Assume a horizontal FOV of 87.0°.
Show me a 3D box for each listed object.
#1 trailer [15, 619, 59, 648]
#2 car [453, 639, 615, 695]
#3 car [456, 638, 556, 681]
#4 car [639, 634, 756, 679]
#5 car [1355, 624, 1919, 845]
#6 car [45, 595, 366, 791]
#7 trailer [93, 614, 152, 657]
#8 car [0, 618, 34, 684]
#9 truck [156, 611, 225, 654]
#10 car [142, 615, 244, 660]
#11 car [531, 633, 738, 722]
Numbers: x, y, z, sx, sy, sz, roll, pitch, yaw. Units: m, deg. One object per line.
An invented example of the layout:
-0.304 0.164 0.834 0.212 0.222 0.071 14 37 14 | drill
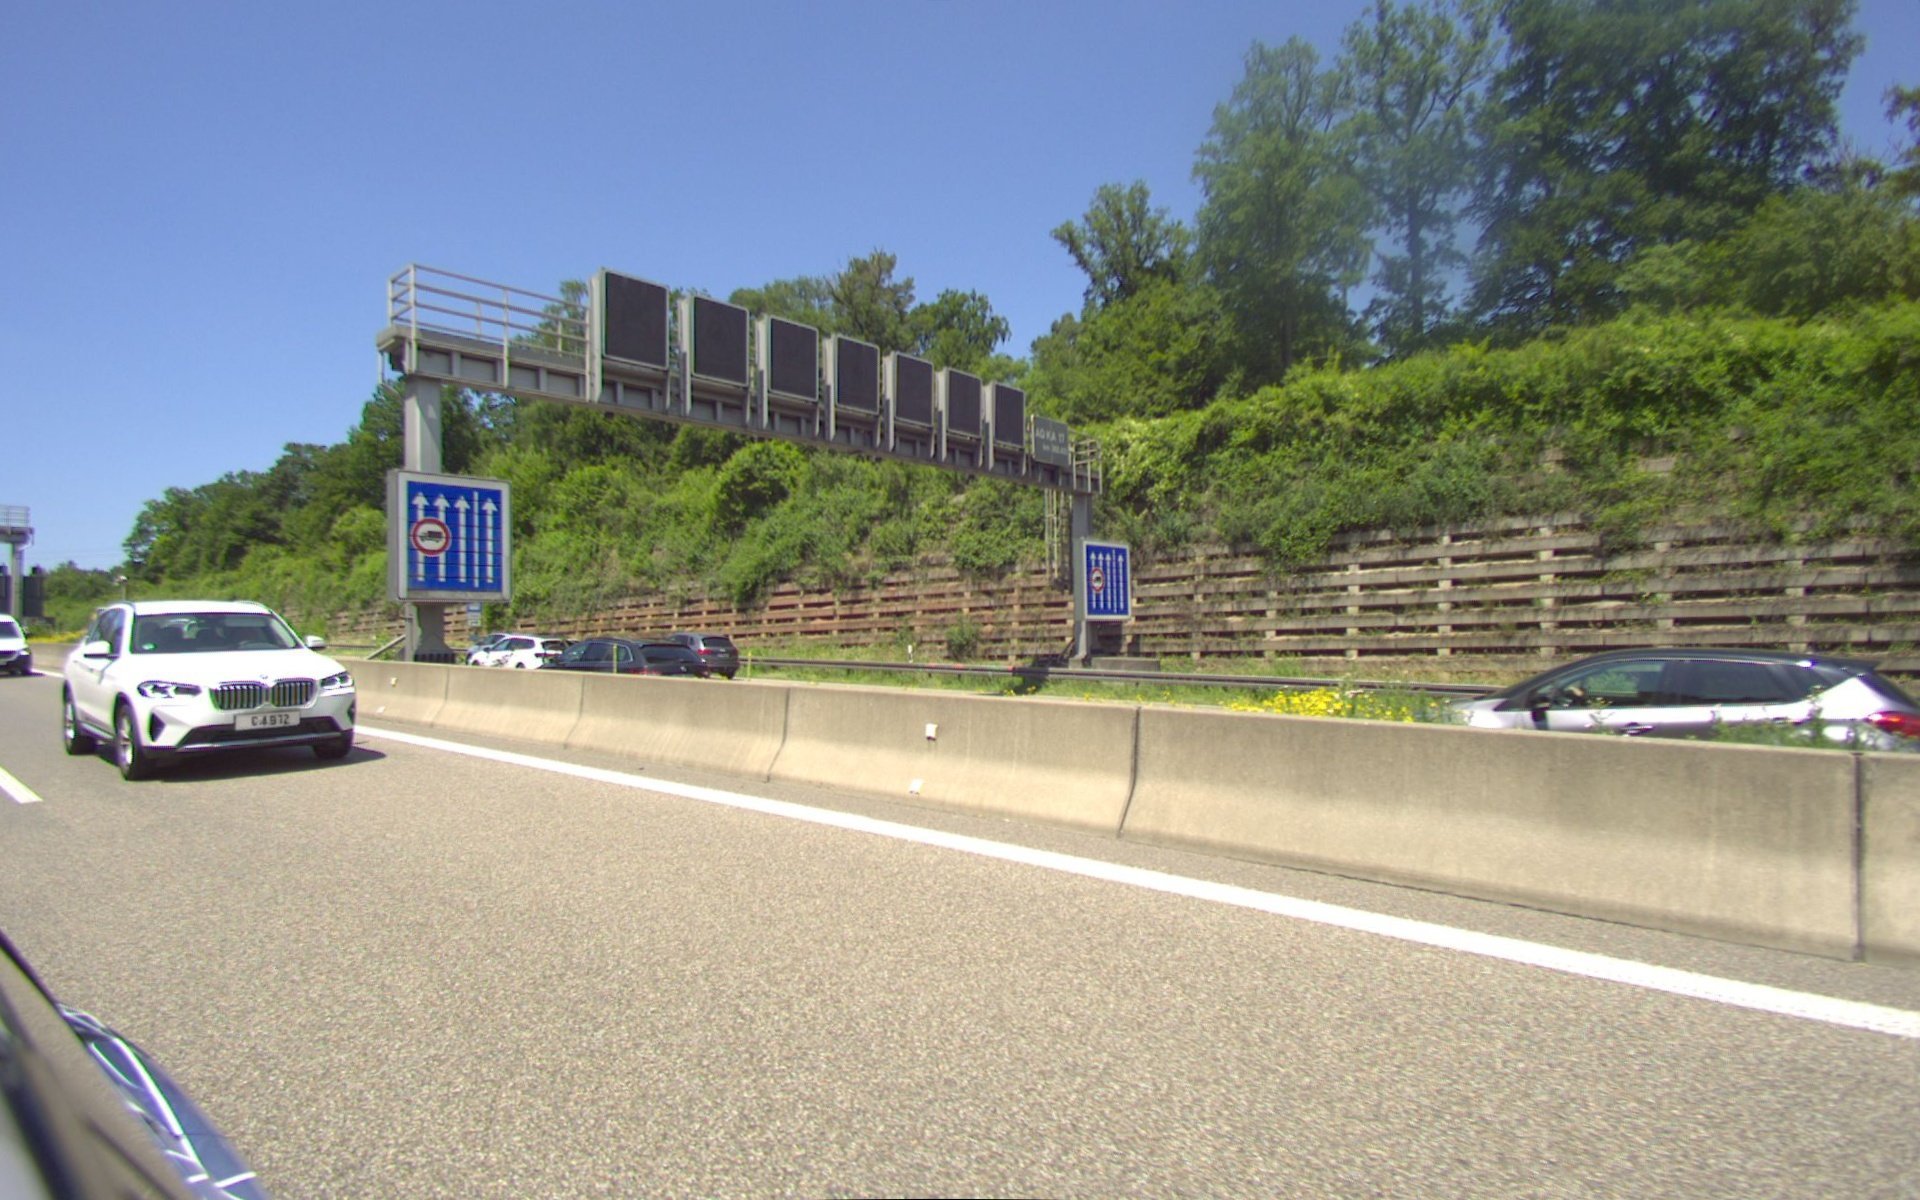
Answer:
-134.481 4.928 147.389 13.986 4.132 2.947 -2 -4 41 | trailer
-12.651 1.916 29.866 5.882 1.506 1.941 -2 -3 40 | car
-17.371 2.245 38.661 4.371 1.537 1.878 -2 -3 42 | car
-9.404 1.998 36.091 4.475 1.506 1.878 -2 -3 42 | car
6.030 1.017 8.909 4.371 1.537 1.878 -2 -3 42 | car
-8.125 0.858 10.743 4.365 1.656 1.826 -2 -1 41 | car
-87.601 3.764 105.714 14.467 4.239 2.945 -2 -4 44 | trailer
-28.037 1.468 28.877 4.500 1.788 1.972 -2 0 42 | car
-56.881 2.429 74.756 7.057 3.015 2.552 -2 -3 41 | truck
-31.061 1.550 40.919 5.990 1.700 1.977 -2 -3 40 | car
-6.375 1.431 19.597 4.371 1.537 1.878 -2 -3 42 | car
